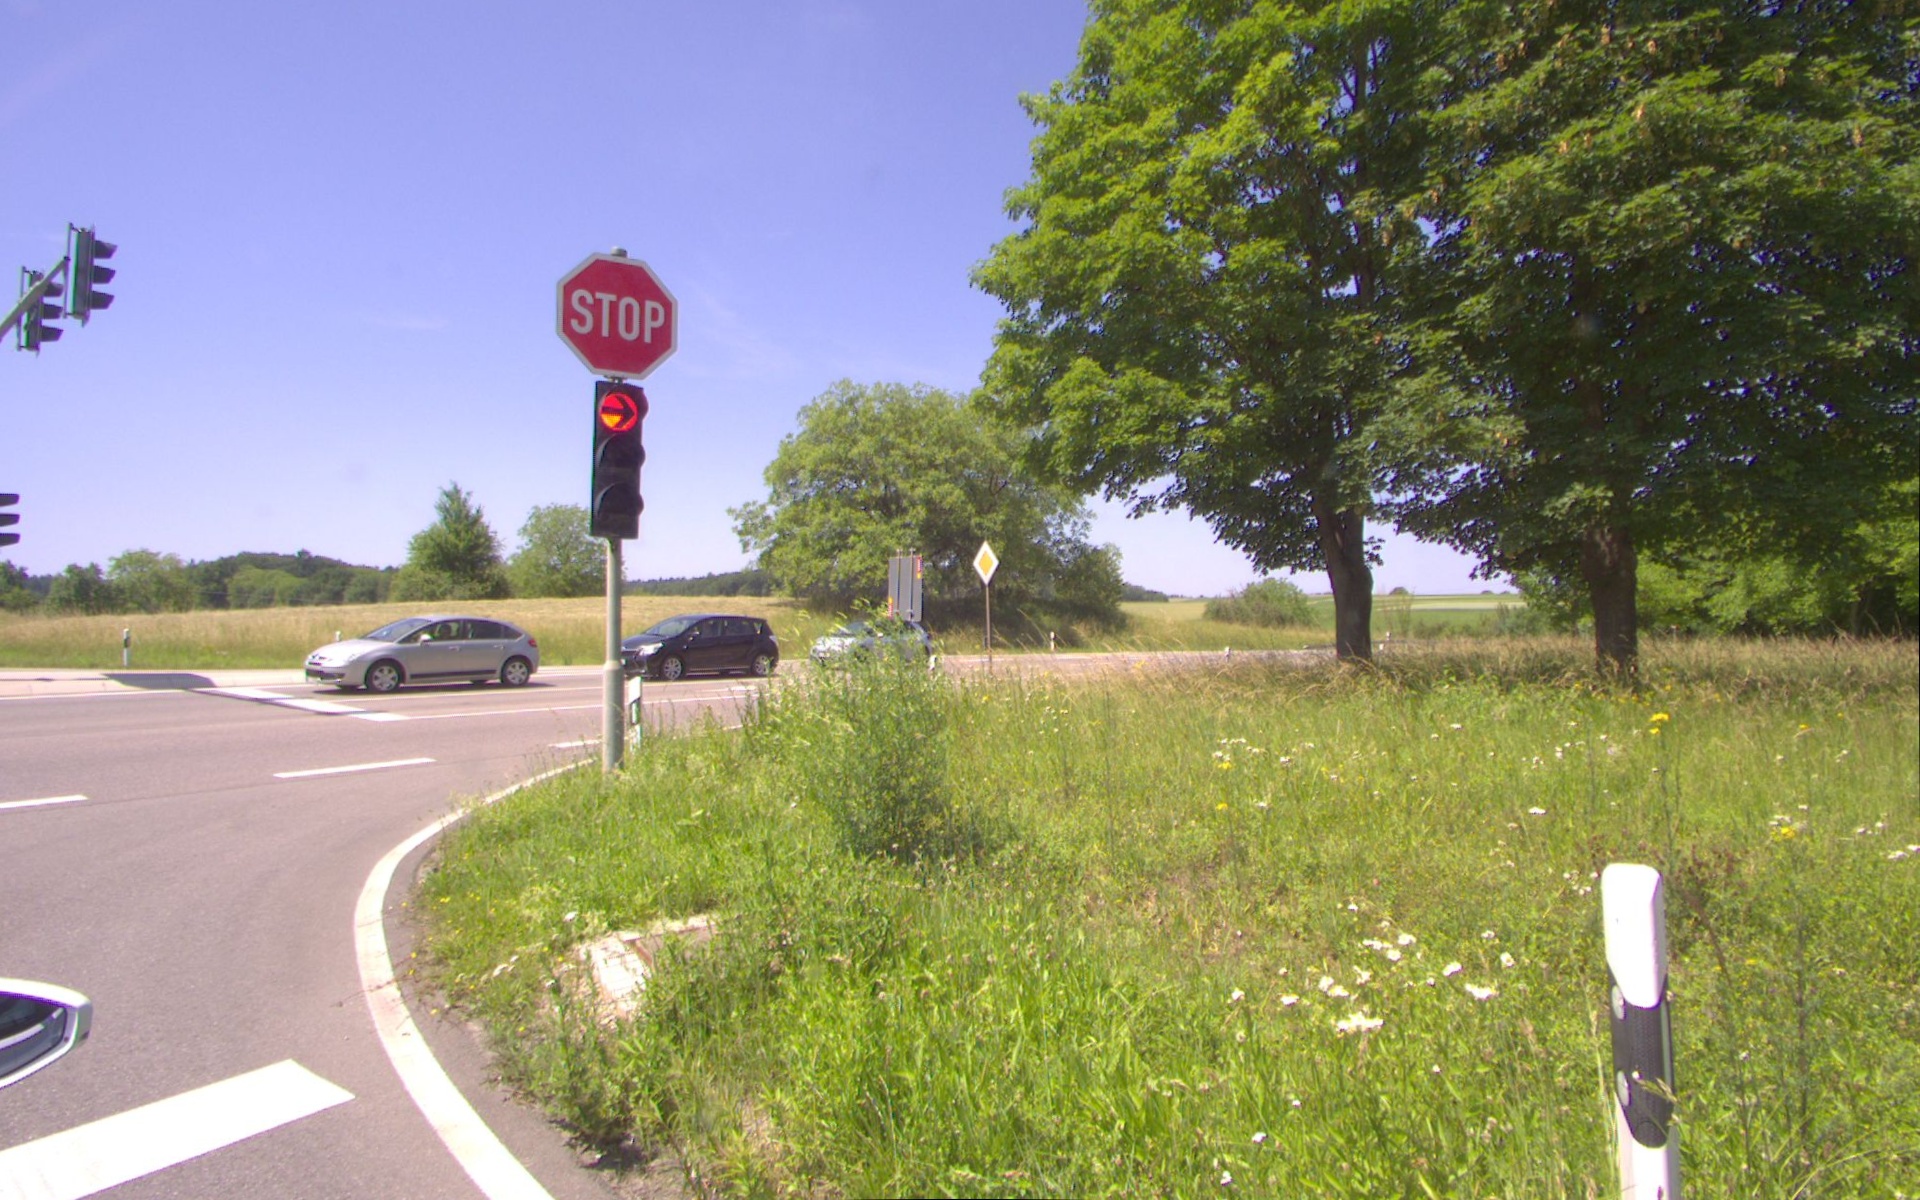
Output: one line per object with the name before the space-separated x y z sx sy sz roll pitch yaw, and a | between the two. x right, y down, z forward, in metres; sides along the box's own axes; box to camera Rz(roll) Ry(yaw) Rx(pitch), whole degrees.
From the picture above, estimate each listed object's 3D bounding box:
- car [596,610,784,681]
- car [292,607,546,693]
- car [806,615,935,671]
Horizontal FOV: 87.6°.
car | -6.680 1.104 25.126 1.708 1.573 4.350 2 0 40
car | -10.734 0.965 20.130 1.707 1.489 4.143 2 0 37
car | -2.724 1.309 31.091 1.635 1.573 3.991 2 0 40
